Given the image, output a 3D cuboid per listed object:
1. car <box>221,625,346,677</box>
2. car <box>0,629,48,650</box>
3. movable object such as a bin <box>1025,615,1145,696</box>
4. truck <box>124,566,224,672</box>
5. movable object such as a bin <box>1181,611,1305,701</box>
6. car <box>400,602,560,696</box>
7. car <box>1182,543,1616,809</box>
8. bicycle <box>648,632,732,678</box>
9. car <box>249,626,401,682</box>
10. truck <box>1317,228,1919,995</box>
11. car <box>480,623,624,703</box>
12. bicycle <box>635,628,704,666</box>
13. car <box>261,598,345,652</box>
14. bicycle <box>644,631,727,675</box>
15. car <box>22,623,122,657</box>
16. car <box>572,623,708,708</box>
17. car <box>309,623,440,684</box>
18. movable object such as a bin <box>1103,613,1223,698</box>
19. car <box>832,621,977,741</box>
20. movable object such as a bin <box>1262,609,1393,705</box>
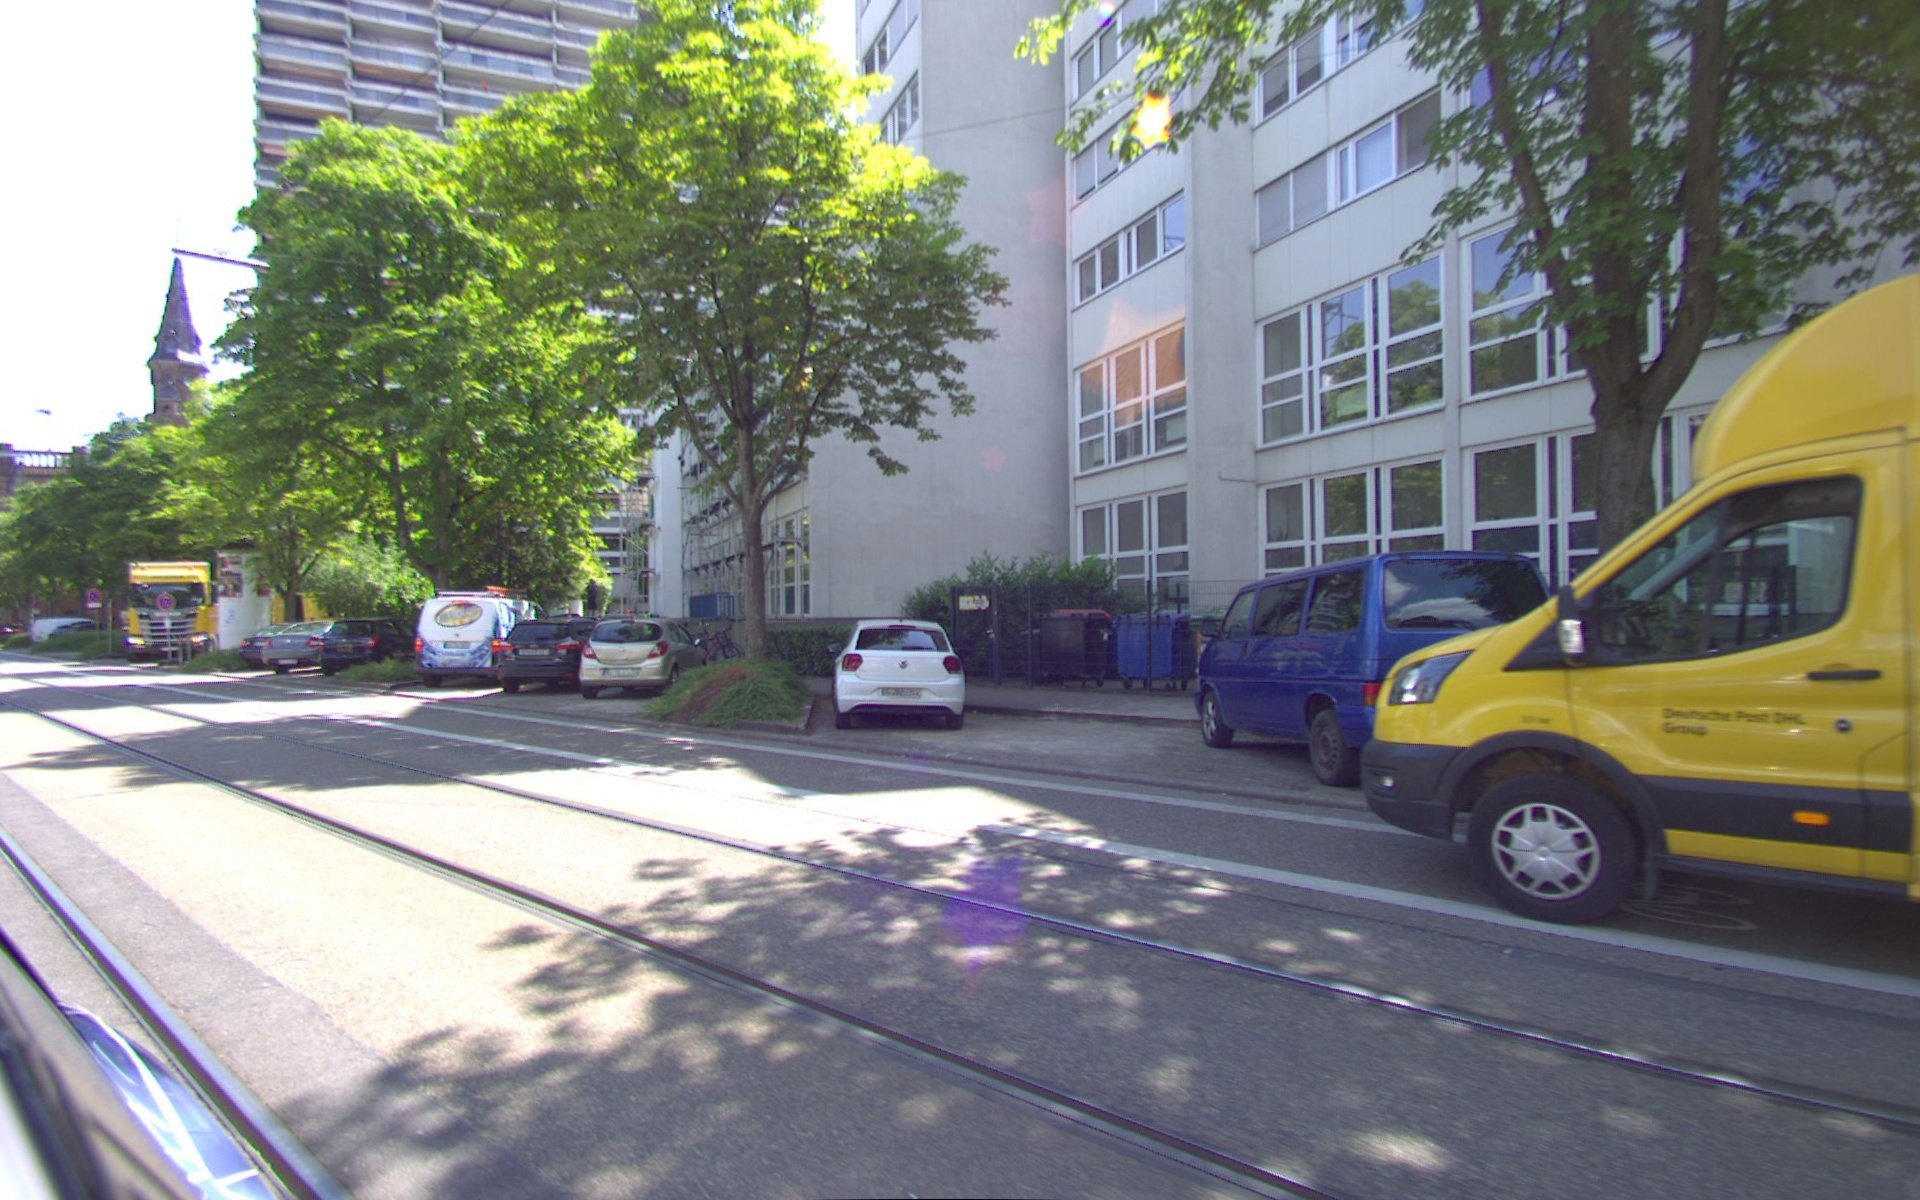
[{"bbox_3d":[-21.093,1.567,31.742,1.735,1.518,3.714,0,-2,-7],"label":"car"},{"bbox_3d":[-79.200,3.304,84.193,1.981,1.578,4.762,-2,-1,12],"label":"car"},{"bbox_3d":[2.335,0.996,18.835,1.489,1.420,1.744,-2,-2,40],"label":"movable object such as a bin"},{"bbox_3d":[-32.844,0.721,42.628,2.679,3.870,10.991,-2,1,-35],"label":"truck"},{"bbox_3d":[4.802,0.911,17.120,1.423,1.420,1.744,-2,-2,40],"label":"movable object such as a bin"},{"bbox_3d":[-10.890,1.100,23.369,1.892,1.949,4.764,0,-2,-7],"label":"car"},{"bbox_3d":[3.811,0.646,9.936,1.819,1.970,4.736,0,-2,-5],"label":"car"},{"bbox_3d":[-7.280,1.472,27.356,2.100,1.083,0.559,-2,0,-24],"label":"bicycle"},{"bbox_3d":[-18.466,1.524,29.666,1.848,1.518,4.203,0,-2,-1],"label":"car"},{"bbox_3d":[5.415,0.016,3.730,7.376,2.874,2.335,-2,-2,42],"label":"truck"},{"bbox_3d":[-8.377,1.259,21.119,1.790,1.518,3.713,0,-2,-5],"label":"car"},{"bbox_3d":[-9.061,1.453,31.594,1.983,1.083,0.559,-2,0,-24],"label":"bicycle"},{"bbox_3d":[-34.507,1.240,53.388,2.147,2.585,6.746,-1,1,-19],"label":"car"},{"bbox_3d":[-7.579,1.453,27.978,2.100,1.083,0.559,-2,0,-24],"label":"bicycle"},{"bbox_3d":[-54.899,2.455,62.673,1.879,1.804,4.537,-2,0,8],"label":"car"},{"bbox_3d":[-6.072,1.216,19.608,1.736,1.478,3.713,0,-2,-5],"label":"car"},{"bbox_3d":[-15.942,1.425,27.764,1.666,1.555,3.713,0,-2,-5],"label":"car"},{"bbox_3d":[3.621,0.952,17.968,1.423,1.420,1.744,-2,-2,40],"label":"movable object such as a bin"},{"bbox_3d":[-0.924,1.084,14.436,1.735,1.444,4.006,1,-3,-7],"label":"car"},{"bbox_3d":[5.851,0.872,16.075,1.423,1.420,1.744,-2,-2,40],"label":"movable object such as a bin"}]
